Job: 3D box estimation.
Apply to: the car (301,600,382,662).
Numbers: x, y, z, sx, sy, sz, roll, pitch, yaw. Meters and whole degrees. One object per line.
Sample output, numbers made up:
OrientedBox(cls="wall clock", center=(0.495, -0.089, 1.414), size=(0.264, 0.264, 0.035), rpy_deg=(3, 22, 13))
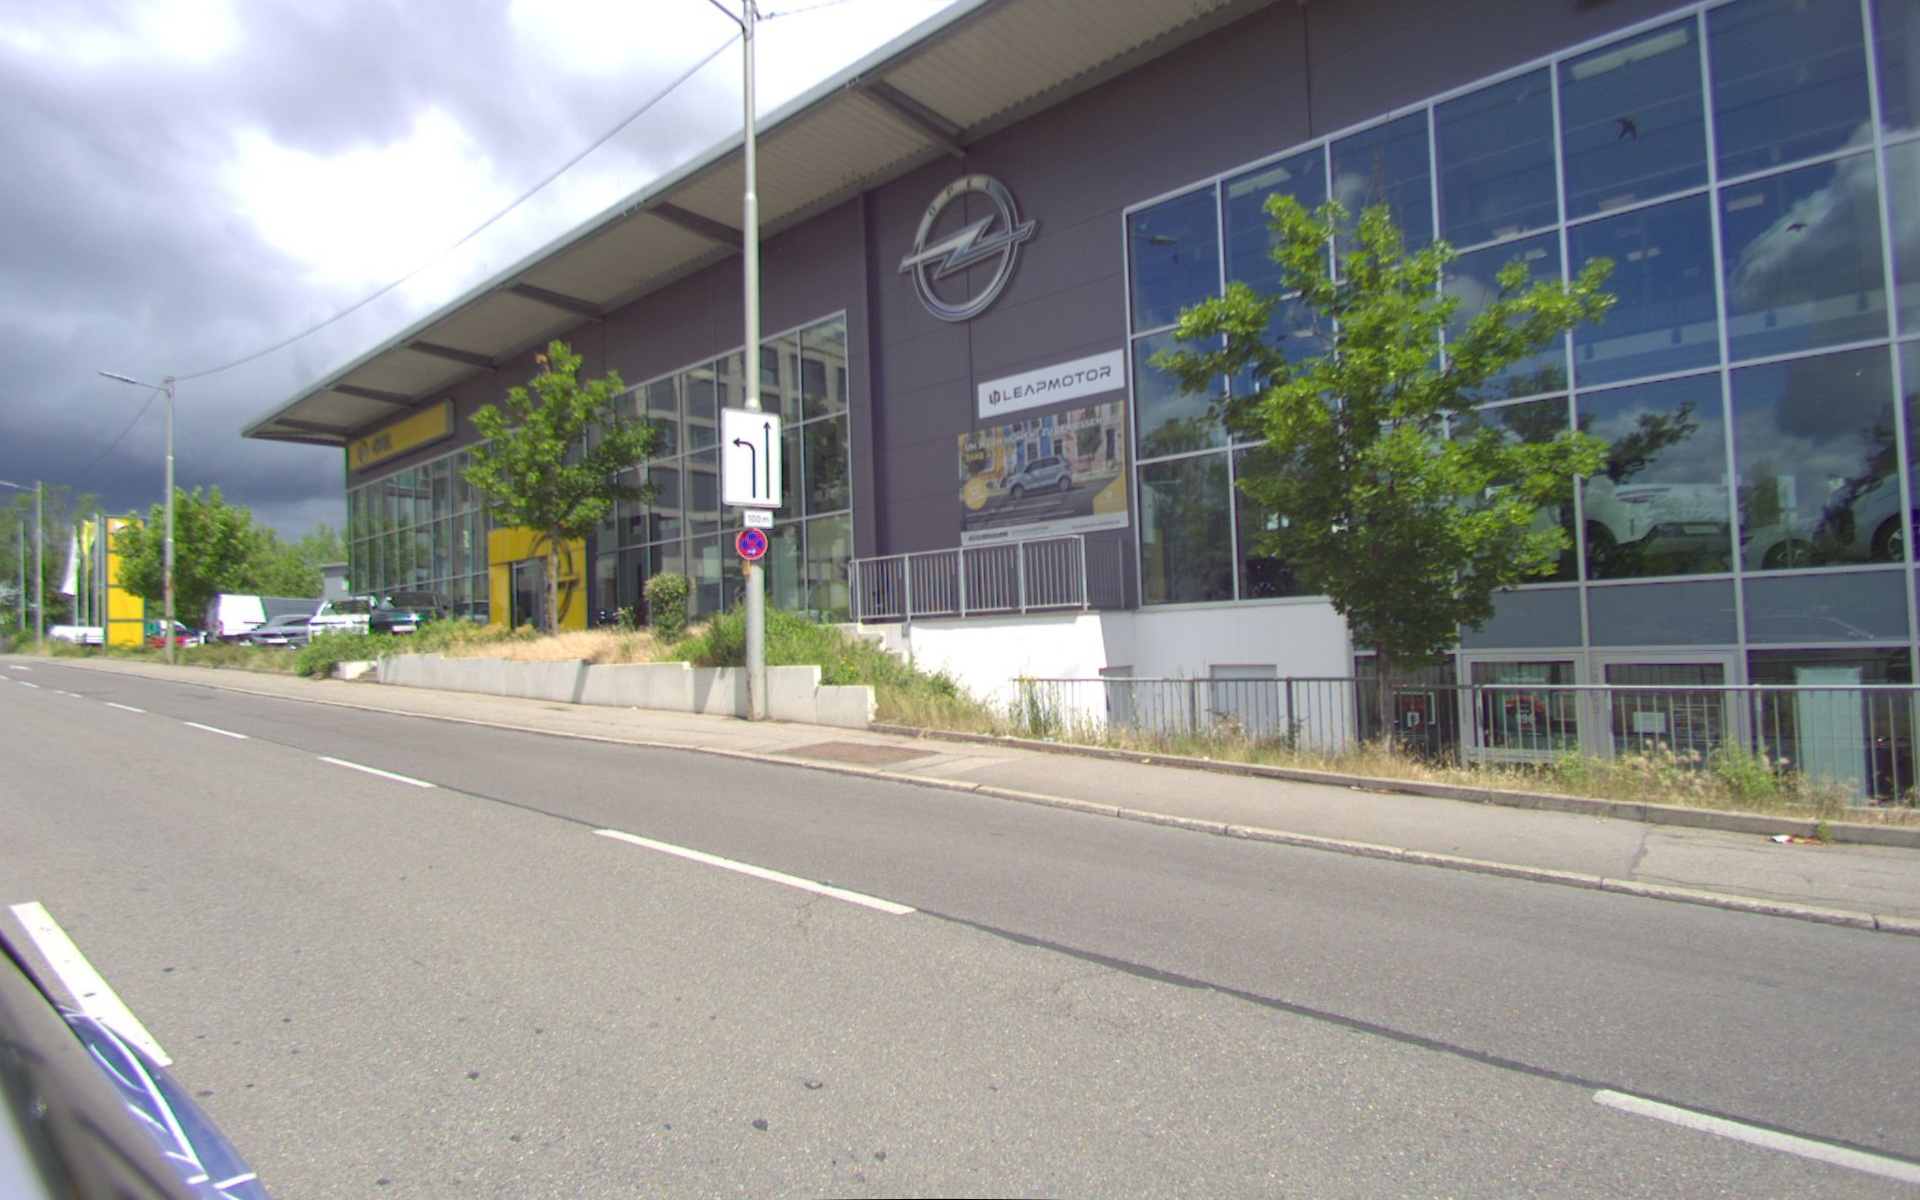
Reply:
OrientedBox(cls="car", center=(-19.212, 0.952, 31.585), size=(1.966, 1.807, 4.012), rpy_deg=(1, -2, -29))

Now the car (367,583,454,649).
OrientedBox(cls="car", center=(-15.685, 0.475, 28.797), size=(1.966, 1.741, 4.011), rpy_deg=(1, -2, -31))

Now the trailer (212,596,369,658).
OrientedBox(cls="trailer", center=(-27.425, 1.092, 41.599), size=(1.998, 2.367, 5.011), rpy_deg=(-1, -2, 39))

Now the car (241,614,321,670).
OrientedBox(cls="car", center=(-23.477, 1.412, 35.147), size=(1.966, 1.807, 4.012), rpy_deg=(1, -1, -29))
